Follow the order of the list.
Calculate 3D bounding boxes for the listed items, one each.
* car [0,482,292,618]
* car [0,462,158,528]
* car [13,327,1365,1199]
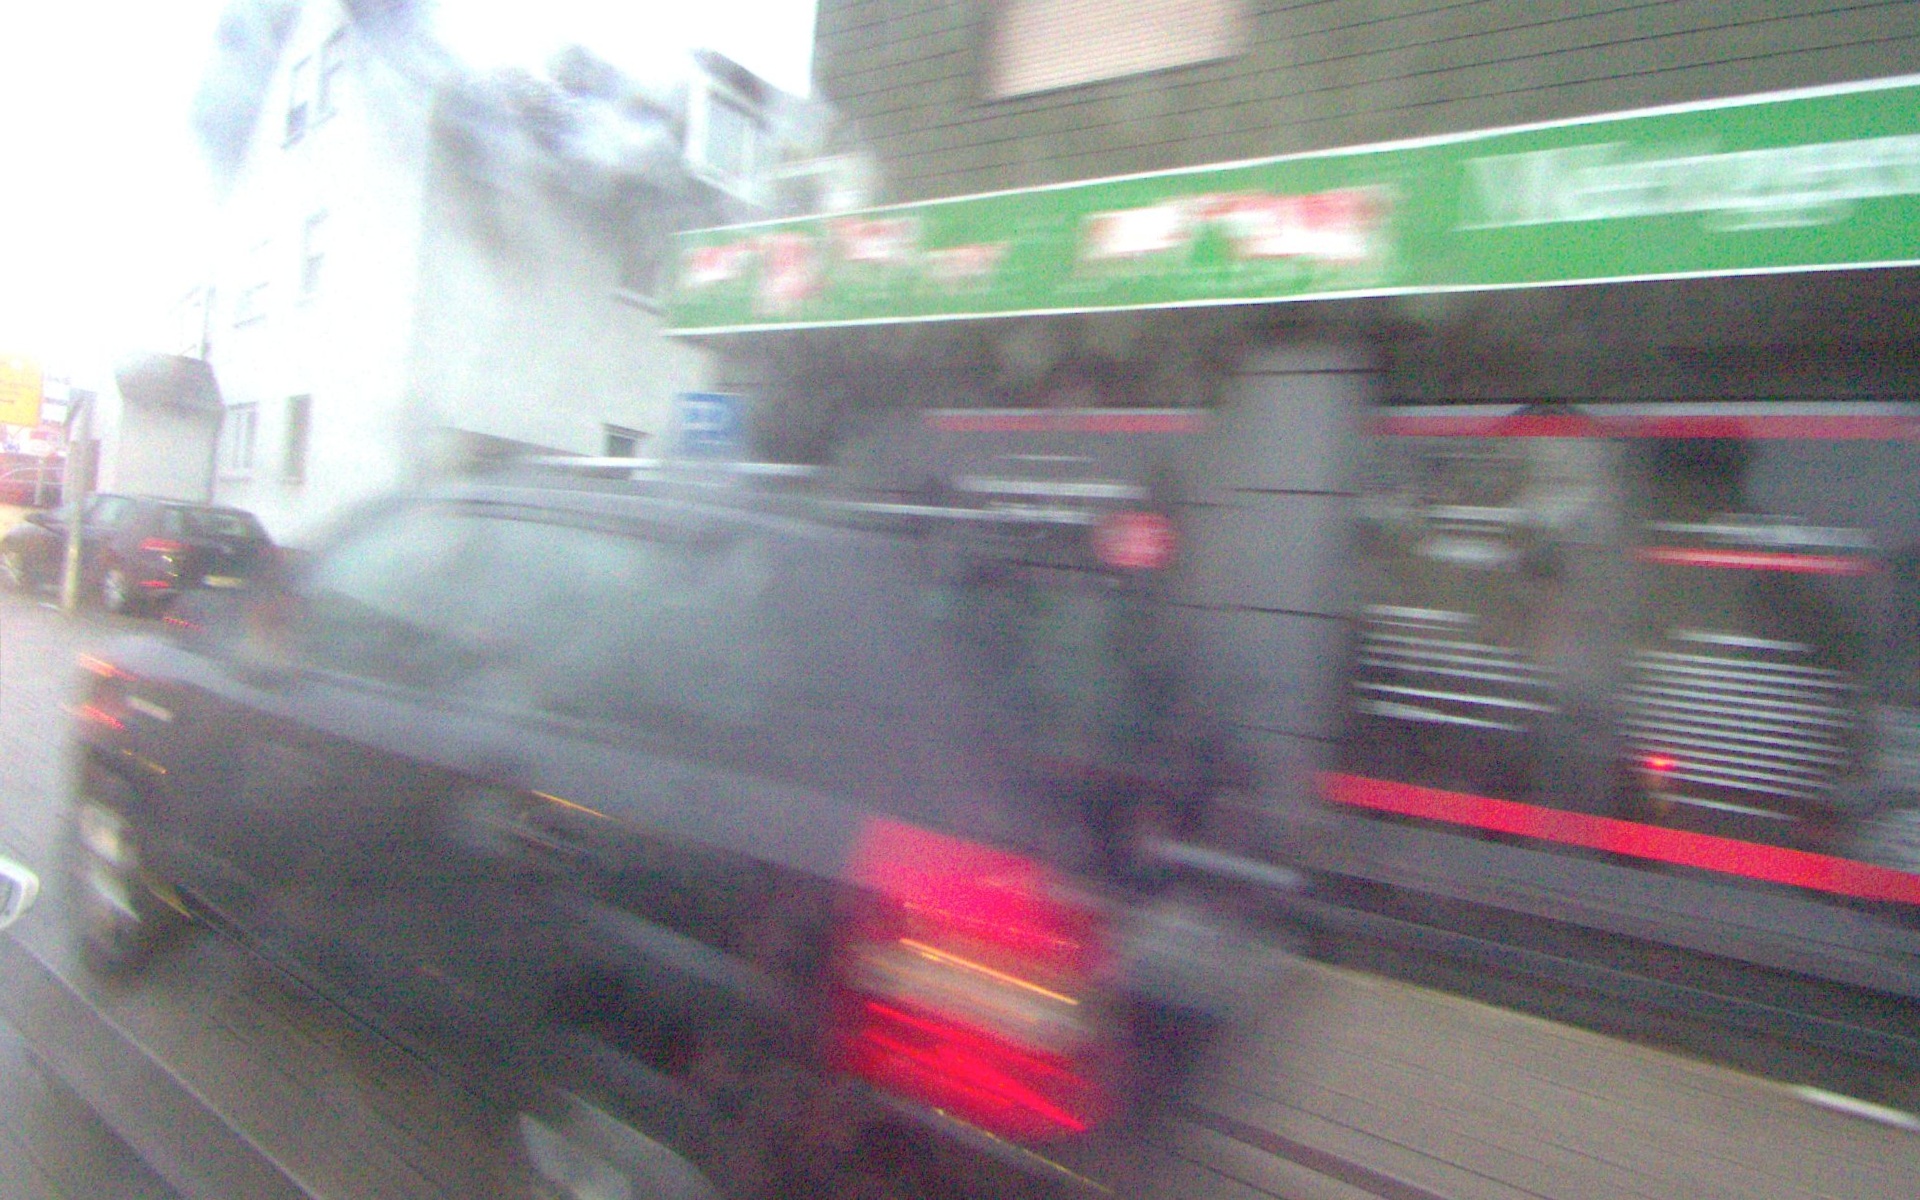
[{"bbox_3d":[-10.965,-0.678,13.339,3.844,1.412,1.767,7,2,26],"label":"car"},{"bbox_3d":[-24.944,-2.890,27.687,1.776,1.664,4.162,8,7,37],"label":"car"},{"bbox_3d":[-1.134,0.416,3.049,3.937,1.806,1.767,7,3,35],"label":"car"}]
